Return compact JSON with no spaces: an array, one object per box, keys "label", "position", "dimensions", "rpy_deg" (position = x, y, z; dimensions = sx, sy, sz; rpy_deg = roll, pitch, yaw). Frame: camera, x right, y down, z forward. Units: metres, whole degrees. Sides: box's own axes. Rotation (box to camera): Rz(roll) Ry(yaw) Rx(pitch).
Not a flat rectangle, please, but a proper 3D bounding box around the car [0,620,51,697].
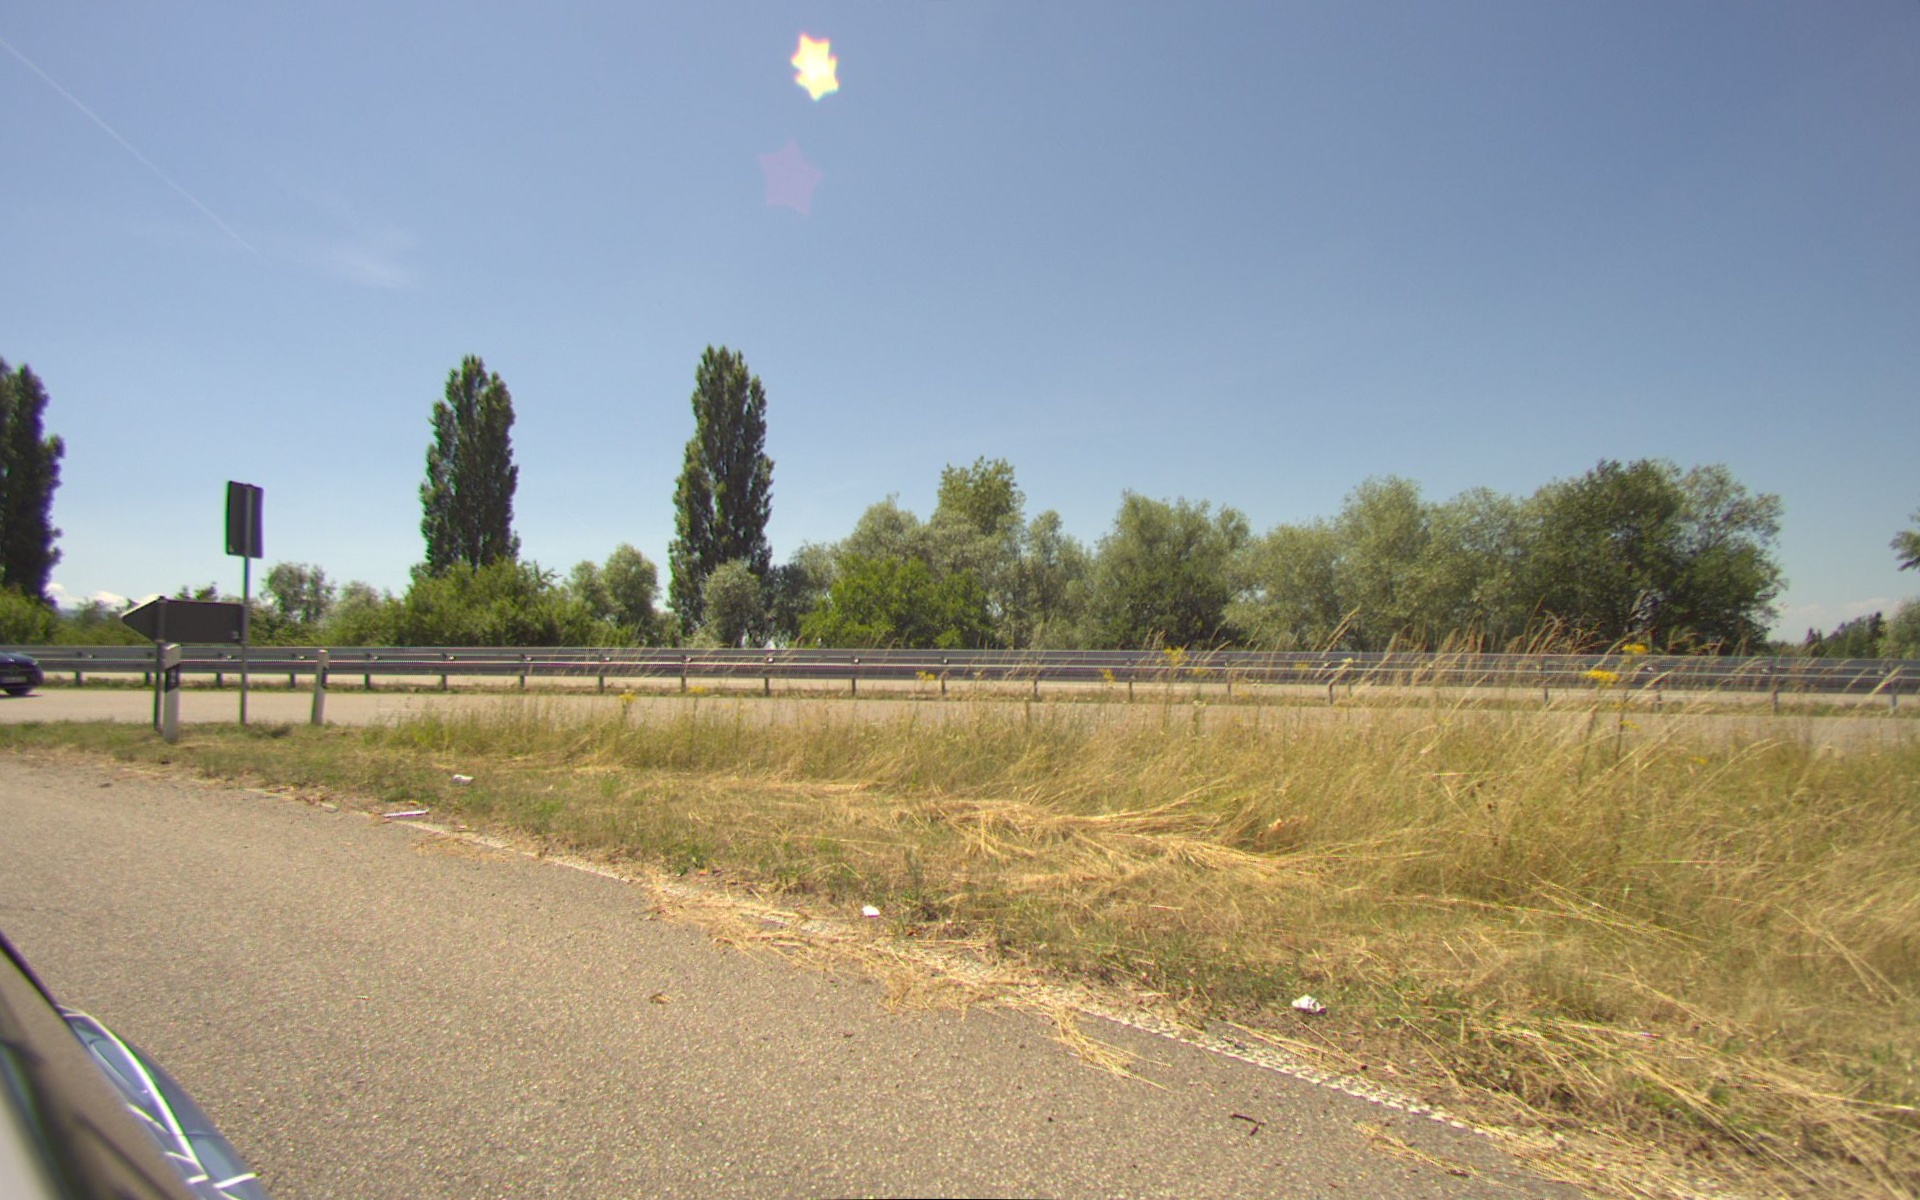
[{"label":"car","position":[-22.069,1.234,21.235],"dimensions":[4.590,1.585,1.995],"rpy_deg":[-1,-1,8]}]
